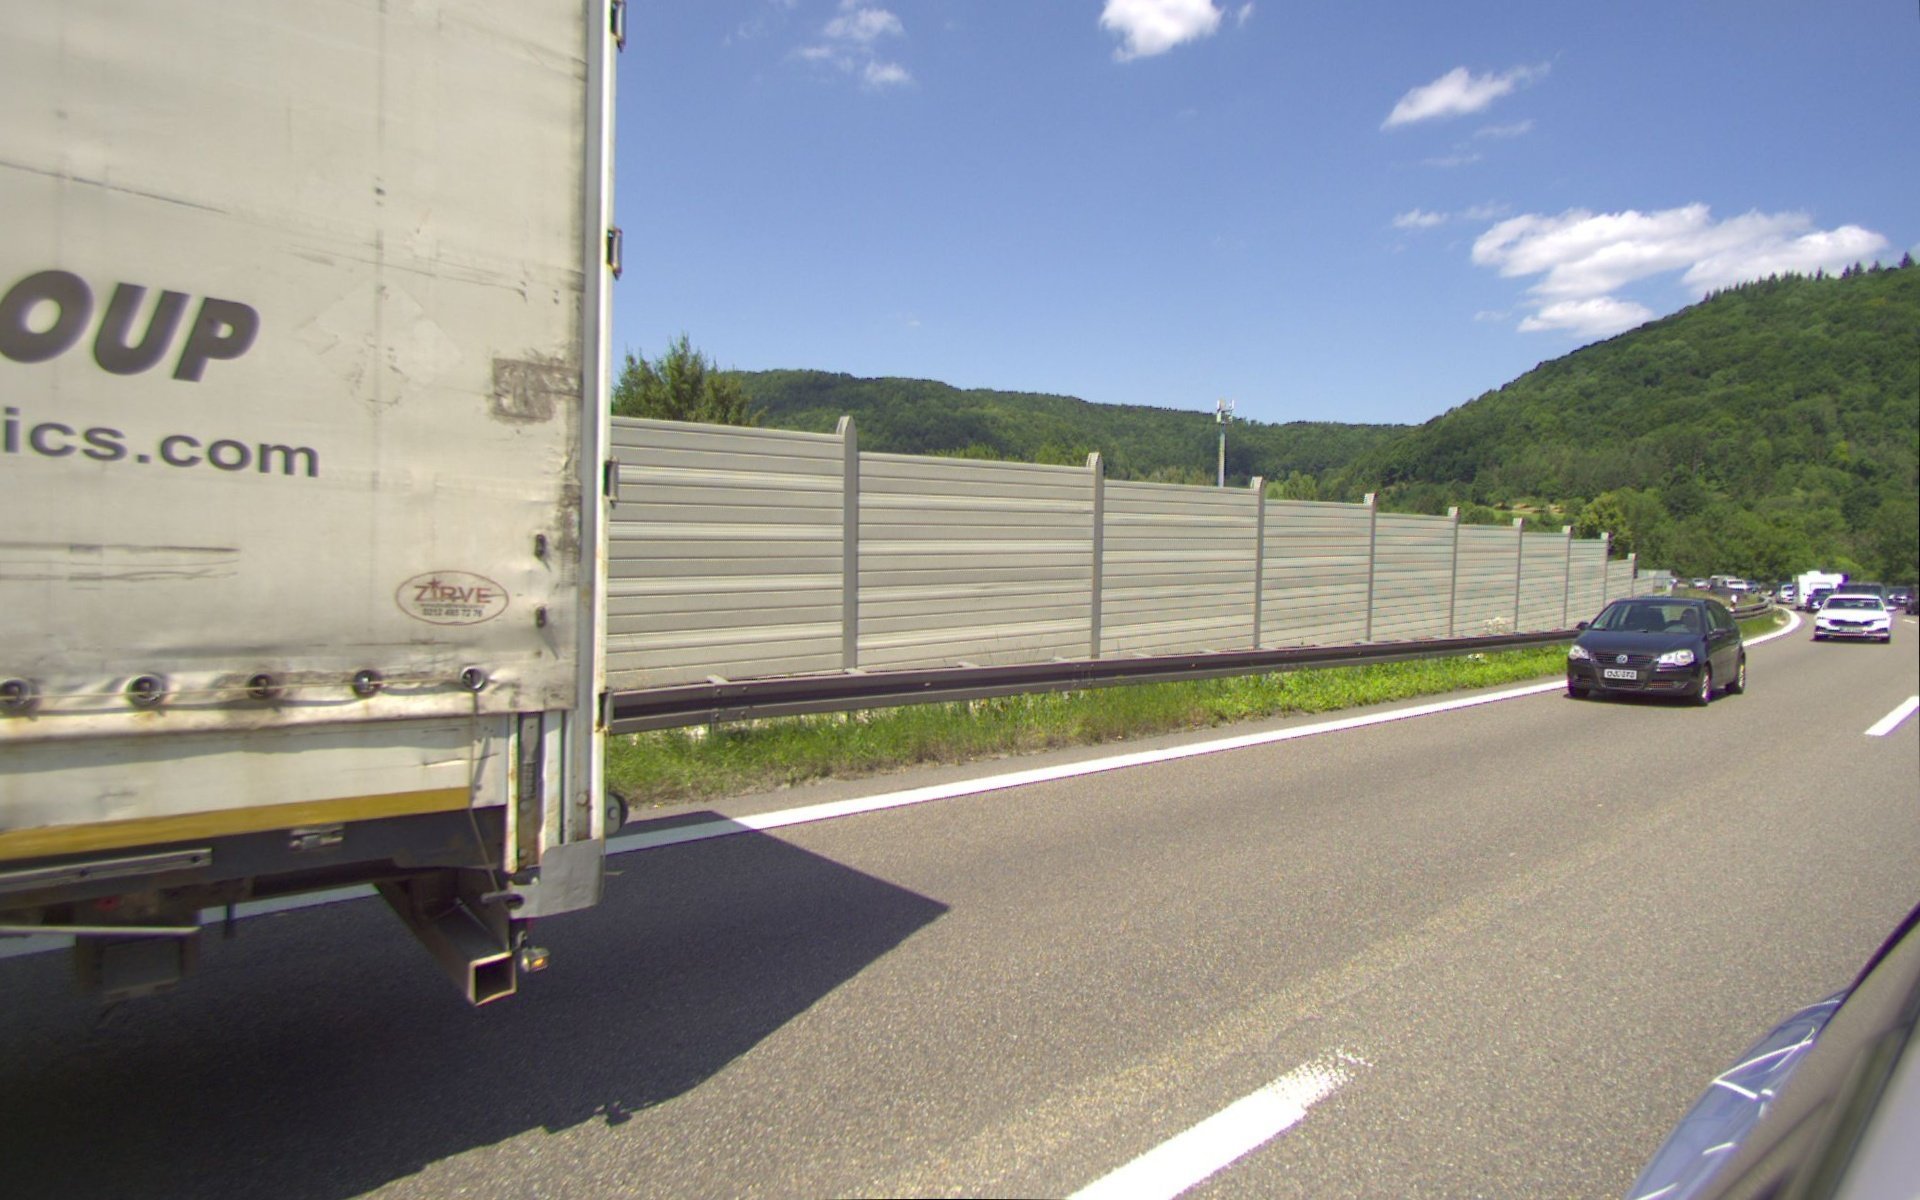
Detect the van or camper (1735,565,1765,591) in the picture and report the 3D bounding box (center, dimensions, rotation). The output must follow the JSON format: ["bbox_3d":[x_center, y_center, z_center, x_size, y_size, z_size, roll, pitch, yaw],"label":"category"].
[{"bbox_3d":[92.464,-2.568,118.507,1.893,3.065,4.826,0,1,28],"label":"van or camper"}]

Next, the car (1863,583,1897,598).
[{"bbox_3d":[76.409,-0.784,84.097,1.480,1.123,3.178,-1,1,32],"label":"car"}]

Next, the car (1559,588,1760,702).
[{"bbox_3d":[10.319,0.555,14.835,3.775,1.440,1.693,-1,0,-44],"label":"car"}]

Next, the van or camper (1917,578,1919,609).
[{"bbox_3d":[58.821,-0.406,60.540,1.808,1.890,3.566,-1,0,36],"label":"van or camper"}]

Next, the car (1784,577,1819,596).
[{"bbox_3d":[72.292,-1.159,86.947,1.686,1.552,3.640,-3,-1,31],"label":"car"}]

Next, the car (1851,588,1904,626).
[{"bbox_3d":[37.162,0.233,41.020,1.484,1.400,3.682,3,3,42],"label":"car"}]

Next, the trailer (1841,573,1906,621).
[{"bbox_3d":[39.590,-0.150,43.935,1.992,1.994,3.941,1,1,41],"label":"trailer"}]

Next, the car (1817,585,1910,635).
[{"bbox_3d":[28.124,0.320,31.476,3.660,1.449,1.903,1,-2,-44],"label":"car"}]

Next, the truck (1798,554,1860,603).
[{"bbox_3d":[60.391,-1.470,70.454,2.588,3.147,6.770,-3,-1,36],"label":"truck"}]
